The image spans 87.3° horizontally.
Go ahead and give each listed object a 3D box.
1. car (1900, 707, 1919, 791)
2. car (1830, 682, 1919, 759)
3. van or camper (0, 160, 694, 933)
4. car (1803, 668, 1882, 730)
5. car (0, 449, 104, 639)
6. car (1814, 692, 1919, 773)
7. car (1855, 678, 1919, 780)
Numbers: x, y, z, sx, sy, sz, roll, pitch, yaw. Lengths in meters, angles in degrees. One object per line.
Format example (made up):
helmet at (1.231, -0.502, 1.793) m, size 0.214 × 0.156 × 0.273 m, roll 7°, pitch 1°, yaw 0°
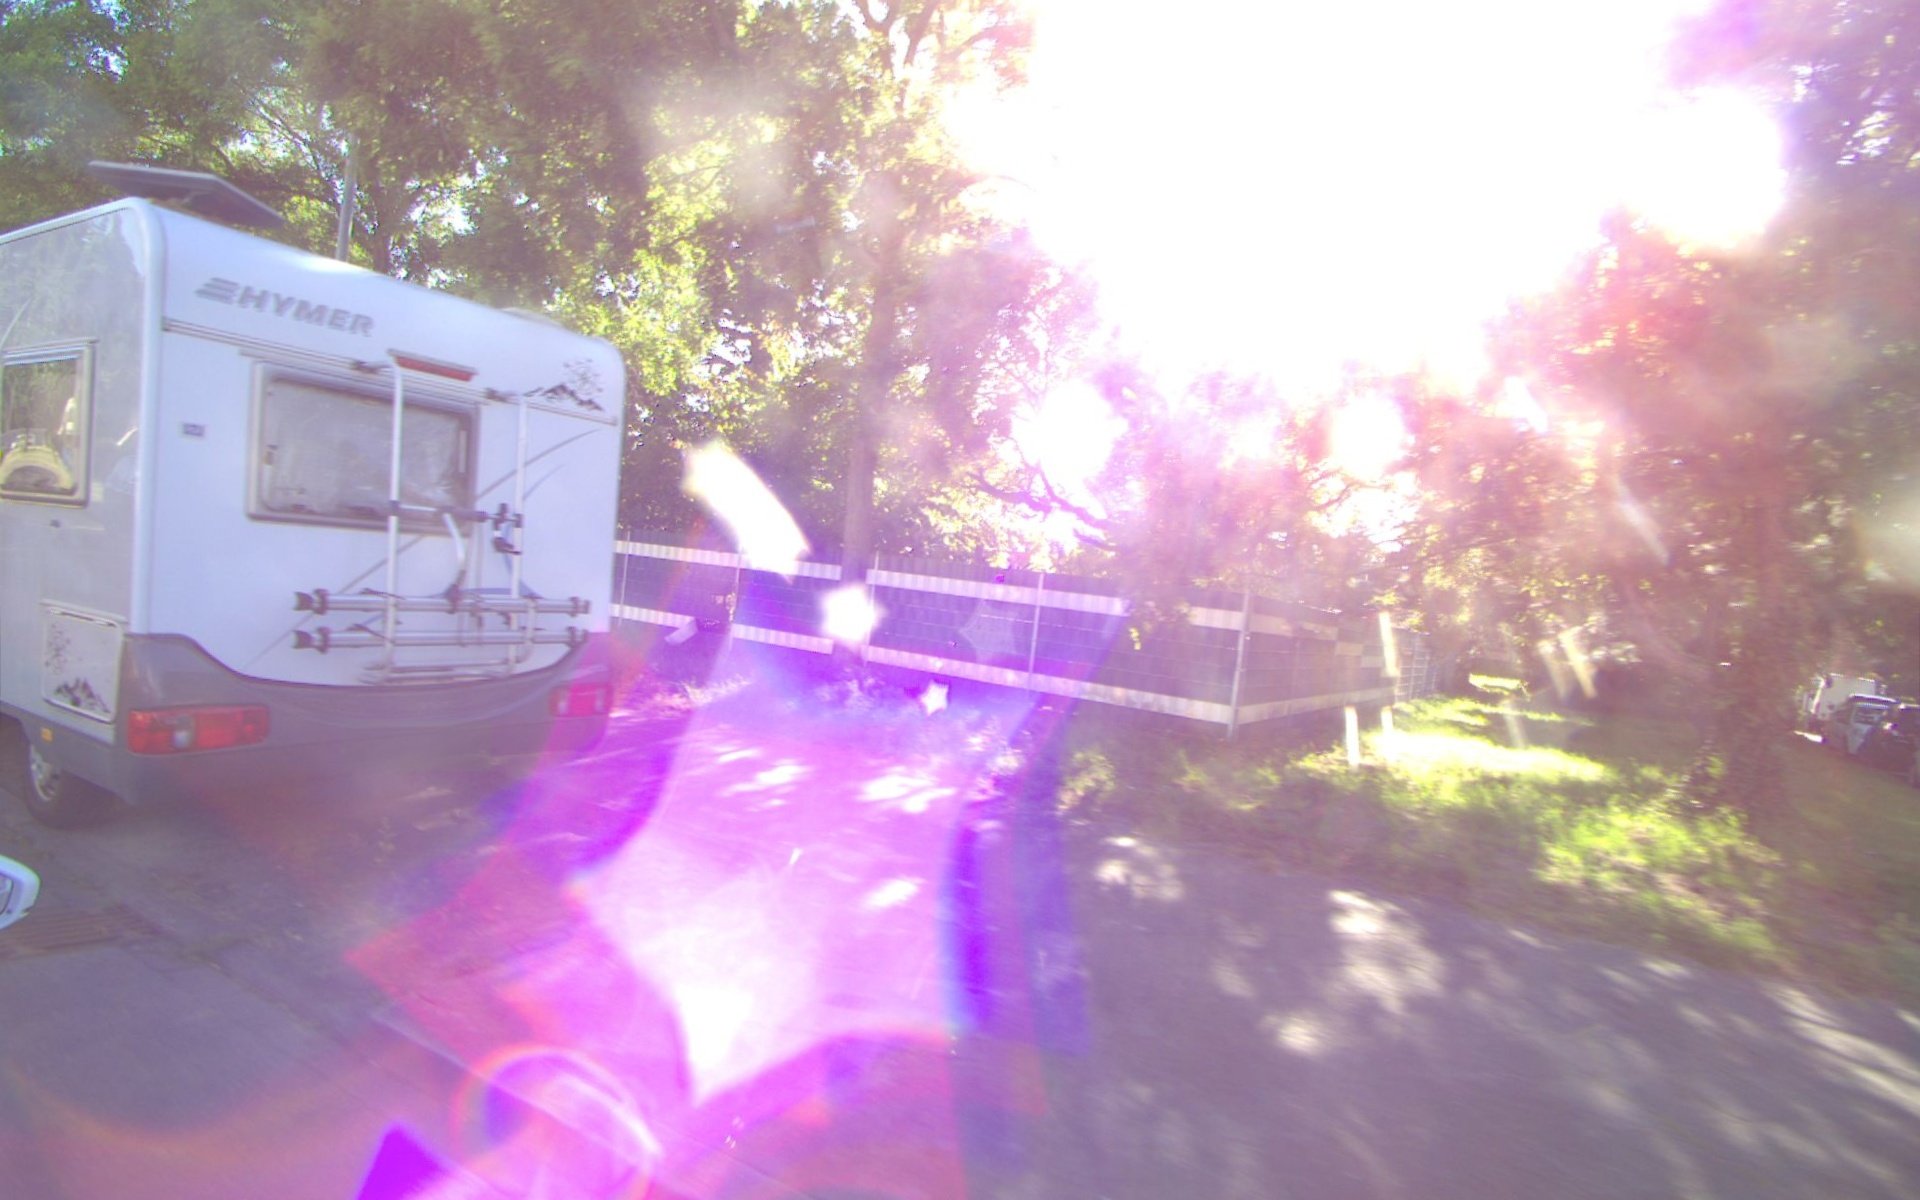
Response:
car at (17.170, 2.690, 16.483) m, size 1.758 × 1.415 × 3.867 m, roll 10°, pitch 2°, yaw 33°
car at (27.351, 3.514, 29.783) m, size 1.970 × 1.831 × 4.449 m, roll 8°, pitch 2°, yaw 38°
van or camper at (-4.796, -0.490, 6.092) m, size 6.319 × 2.633 × 2.350 m, roll 8°, pitch 5°, yaw 32°
car at (38.917, 4.313, 44.472) m, size 2.234 × 2.291 × 5.053 m, roll 8°, pitch 2°, yaw 40°
car at (-10.461, -0.739, 9.665) m, size 4.459 × 1.663 × 1.994 m, roll 8°, pitch 3°, yaw 30°
car at (23.339, 3.332, 25.414) m, size 1.967 × 1.632 × 3.869 m, roll 8°, pitch 1°, yaw 32°
car at (20.121, 2.732, 20.866) m, size 1.971 × 1.875 × 3.861 m, roll 8°, pitch 1°, yaw 40°
